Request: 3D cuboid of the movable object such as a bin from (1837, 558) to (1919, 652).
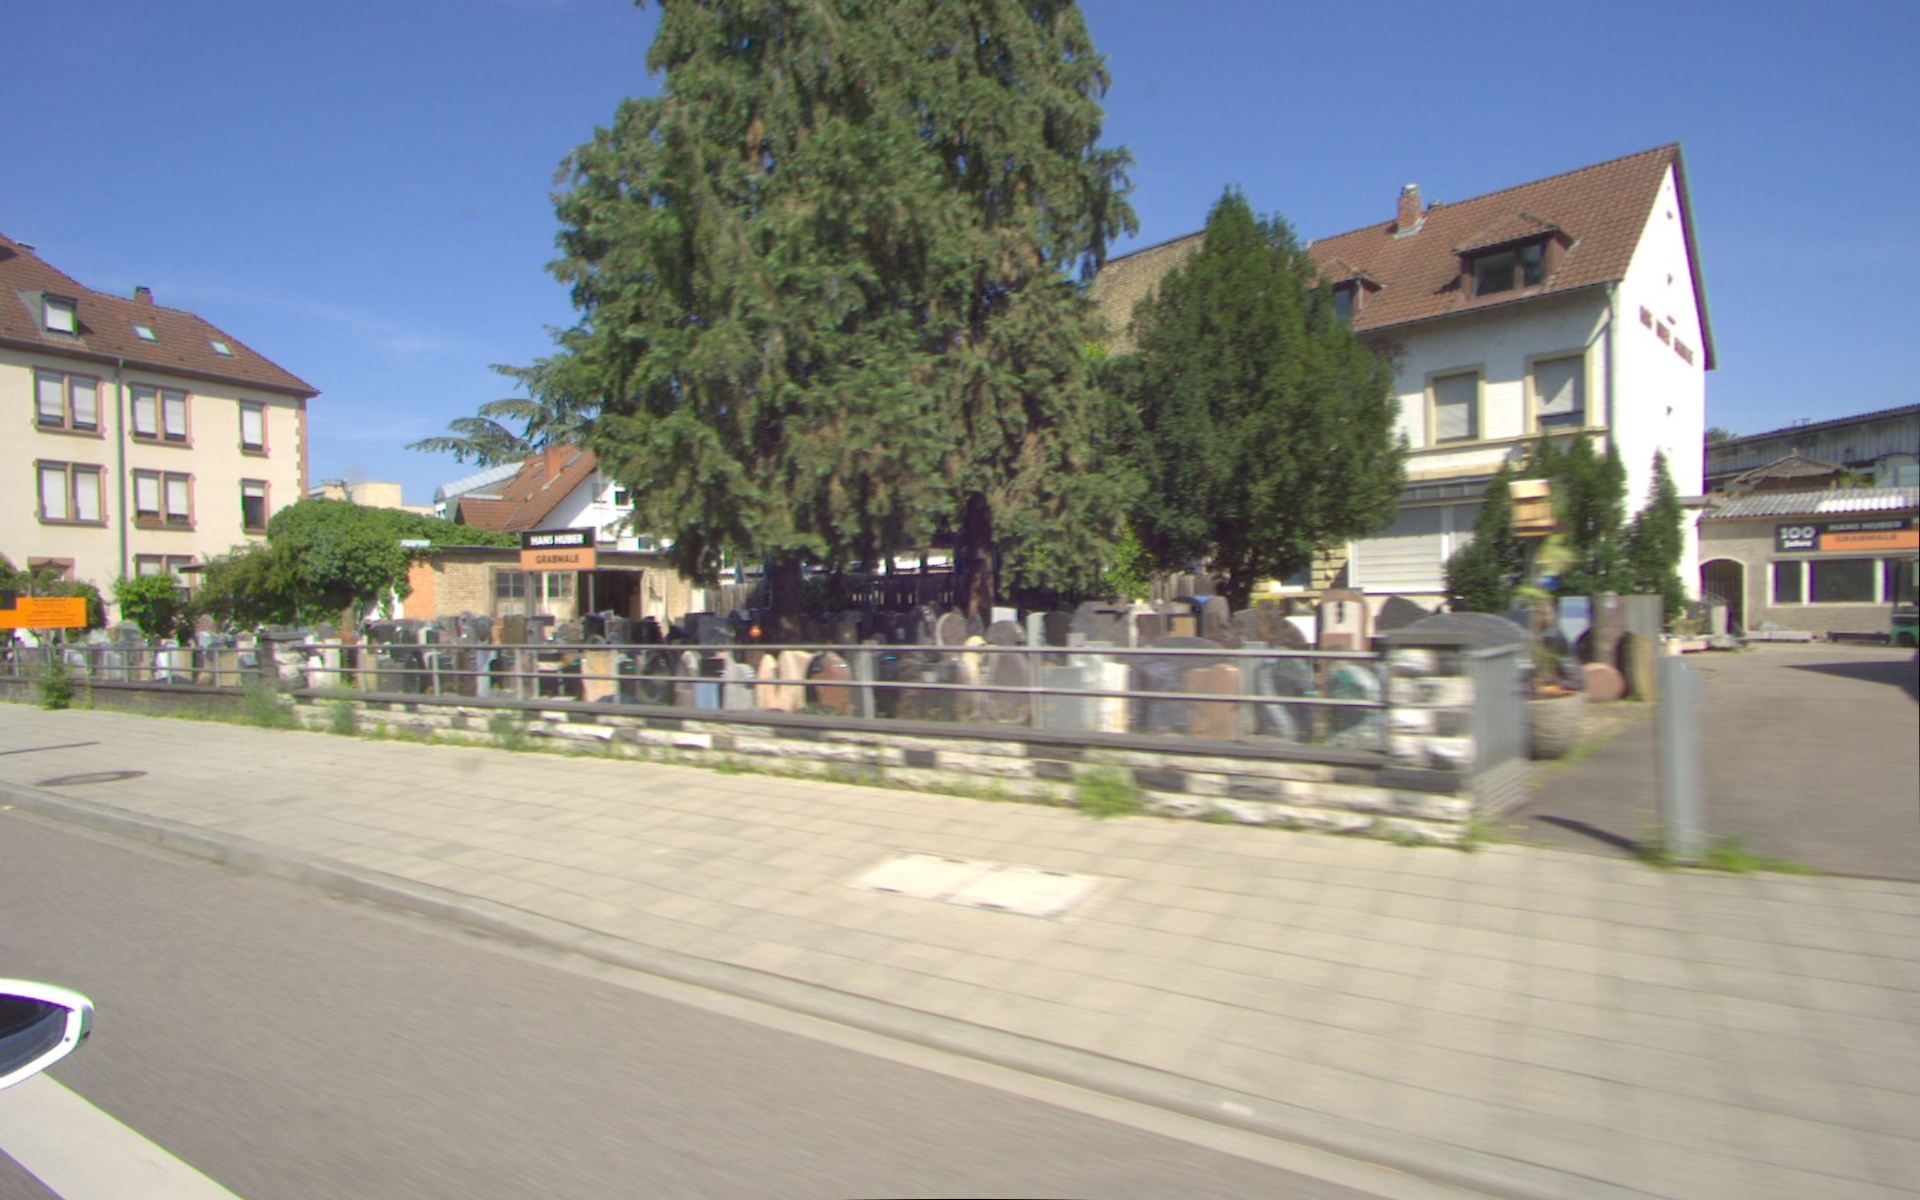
[{"bbox_3d":[22.239,0.098,23.338,2.247,2.106,1.476,-1,1,6],"label":"movable object such as a bin"}]
